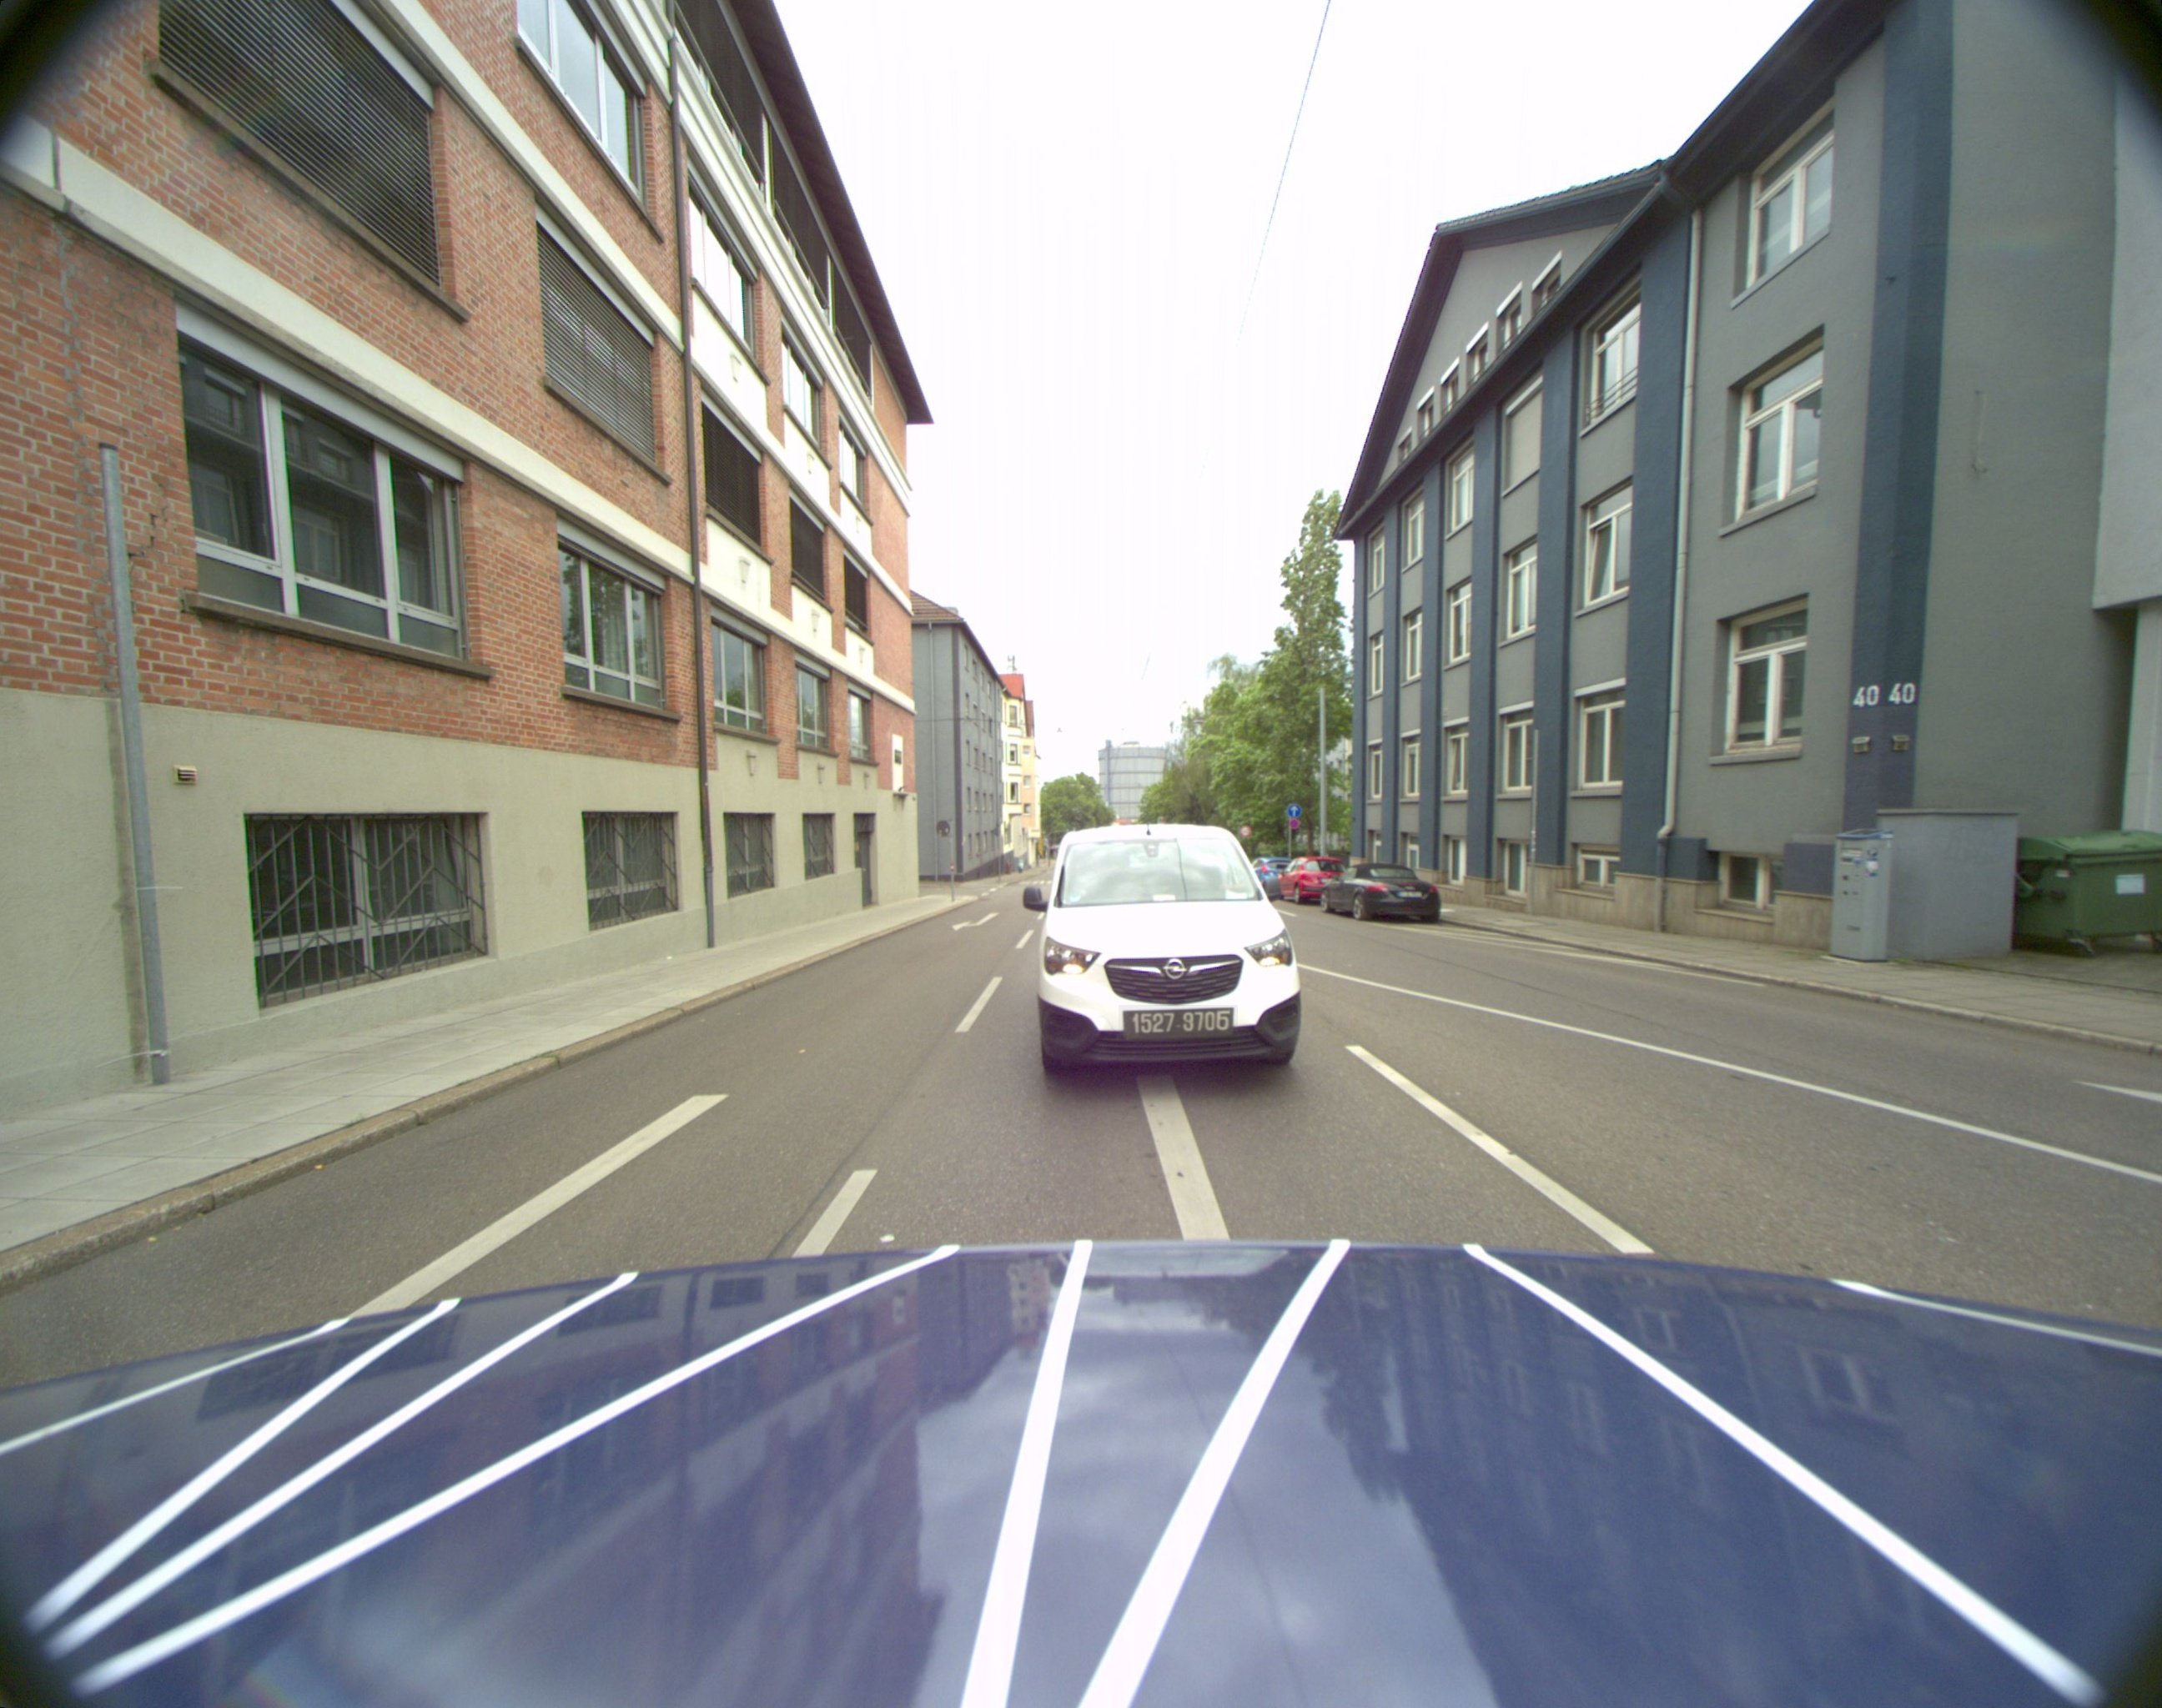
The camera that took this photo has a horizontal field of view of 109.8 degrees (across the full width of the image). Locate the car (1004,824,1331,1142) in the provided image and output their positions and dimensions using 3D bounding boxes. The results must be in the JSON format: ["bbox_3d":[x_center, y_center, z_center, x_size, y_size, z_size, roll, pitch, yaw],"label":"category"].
[{"bbox_3d":[0.553,0.751,6.919,1.840,1.797,4.939,-2,0,1],"label":"car"}]

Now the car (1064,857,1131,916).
[{"bbox_3d":[0.479,0.862,21.682,1.724,1.486,3.727,1,0,2],"label":"car"}]

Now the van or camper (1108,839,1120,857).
[{"bbox_3d":[5.182,-1.003,119.937,1.914,2.754,5.925,1,0,2],"label":"van or camper"}]

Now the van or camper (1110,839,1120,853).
[{"bbox_3d":[6.724,-1.533,149.787,1.914,2.754,5.925,1,0,2],"label":"van or camper"}]

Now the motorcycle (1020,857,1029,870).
[{"bbox_3d":[-5.109,0.876,68.366,0.566,1.105,1.653,4,0,2],"label":"motorcycle"}]

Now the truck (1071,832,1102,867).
[{"bbox_3d":[0.636,-0.448,81.754,2.980,3.394,9.358,-2,0,1],"label":"truck"}]

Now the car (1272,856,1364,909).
[{"bbox_3d":[7.484,0.846,24.341,1.819,1.465,3.869,2,0,2],"label":"car"}]

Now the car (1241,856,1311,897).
[{"bbox_3d":[7.555,0.833,29.777,1.724,1.445,3.727,1,0,0],"label":"car"}]

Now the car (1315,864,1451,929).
[{"bbox_3d":[7.181,0.948,18.523,1.724,1.319,4.041,2,0,1],"label":"car"}]

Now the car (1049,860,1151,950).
[{"bbox_3d":[0.382,0.881,14.772,1.724,1.486,3.727,1,0,2],"label":"car"}]

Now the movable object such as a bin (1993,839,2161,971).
[{"bbox_3d":[12.080,0.587,9.114,1.267,1.448,0.784,-3,2,4],"label":"movable object such as a bin"}]
